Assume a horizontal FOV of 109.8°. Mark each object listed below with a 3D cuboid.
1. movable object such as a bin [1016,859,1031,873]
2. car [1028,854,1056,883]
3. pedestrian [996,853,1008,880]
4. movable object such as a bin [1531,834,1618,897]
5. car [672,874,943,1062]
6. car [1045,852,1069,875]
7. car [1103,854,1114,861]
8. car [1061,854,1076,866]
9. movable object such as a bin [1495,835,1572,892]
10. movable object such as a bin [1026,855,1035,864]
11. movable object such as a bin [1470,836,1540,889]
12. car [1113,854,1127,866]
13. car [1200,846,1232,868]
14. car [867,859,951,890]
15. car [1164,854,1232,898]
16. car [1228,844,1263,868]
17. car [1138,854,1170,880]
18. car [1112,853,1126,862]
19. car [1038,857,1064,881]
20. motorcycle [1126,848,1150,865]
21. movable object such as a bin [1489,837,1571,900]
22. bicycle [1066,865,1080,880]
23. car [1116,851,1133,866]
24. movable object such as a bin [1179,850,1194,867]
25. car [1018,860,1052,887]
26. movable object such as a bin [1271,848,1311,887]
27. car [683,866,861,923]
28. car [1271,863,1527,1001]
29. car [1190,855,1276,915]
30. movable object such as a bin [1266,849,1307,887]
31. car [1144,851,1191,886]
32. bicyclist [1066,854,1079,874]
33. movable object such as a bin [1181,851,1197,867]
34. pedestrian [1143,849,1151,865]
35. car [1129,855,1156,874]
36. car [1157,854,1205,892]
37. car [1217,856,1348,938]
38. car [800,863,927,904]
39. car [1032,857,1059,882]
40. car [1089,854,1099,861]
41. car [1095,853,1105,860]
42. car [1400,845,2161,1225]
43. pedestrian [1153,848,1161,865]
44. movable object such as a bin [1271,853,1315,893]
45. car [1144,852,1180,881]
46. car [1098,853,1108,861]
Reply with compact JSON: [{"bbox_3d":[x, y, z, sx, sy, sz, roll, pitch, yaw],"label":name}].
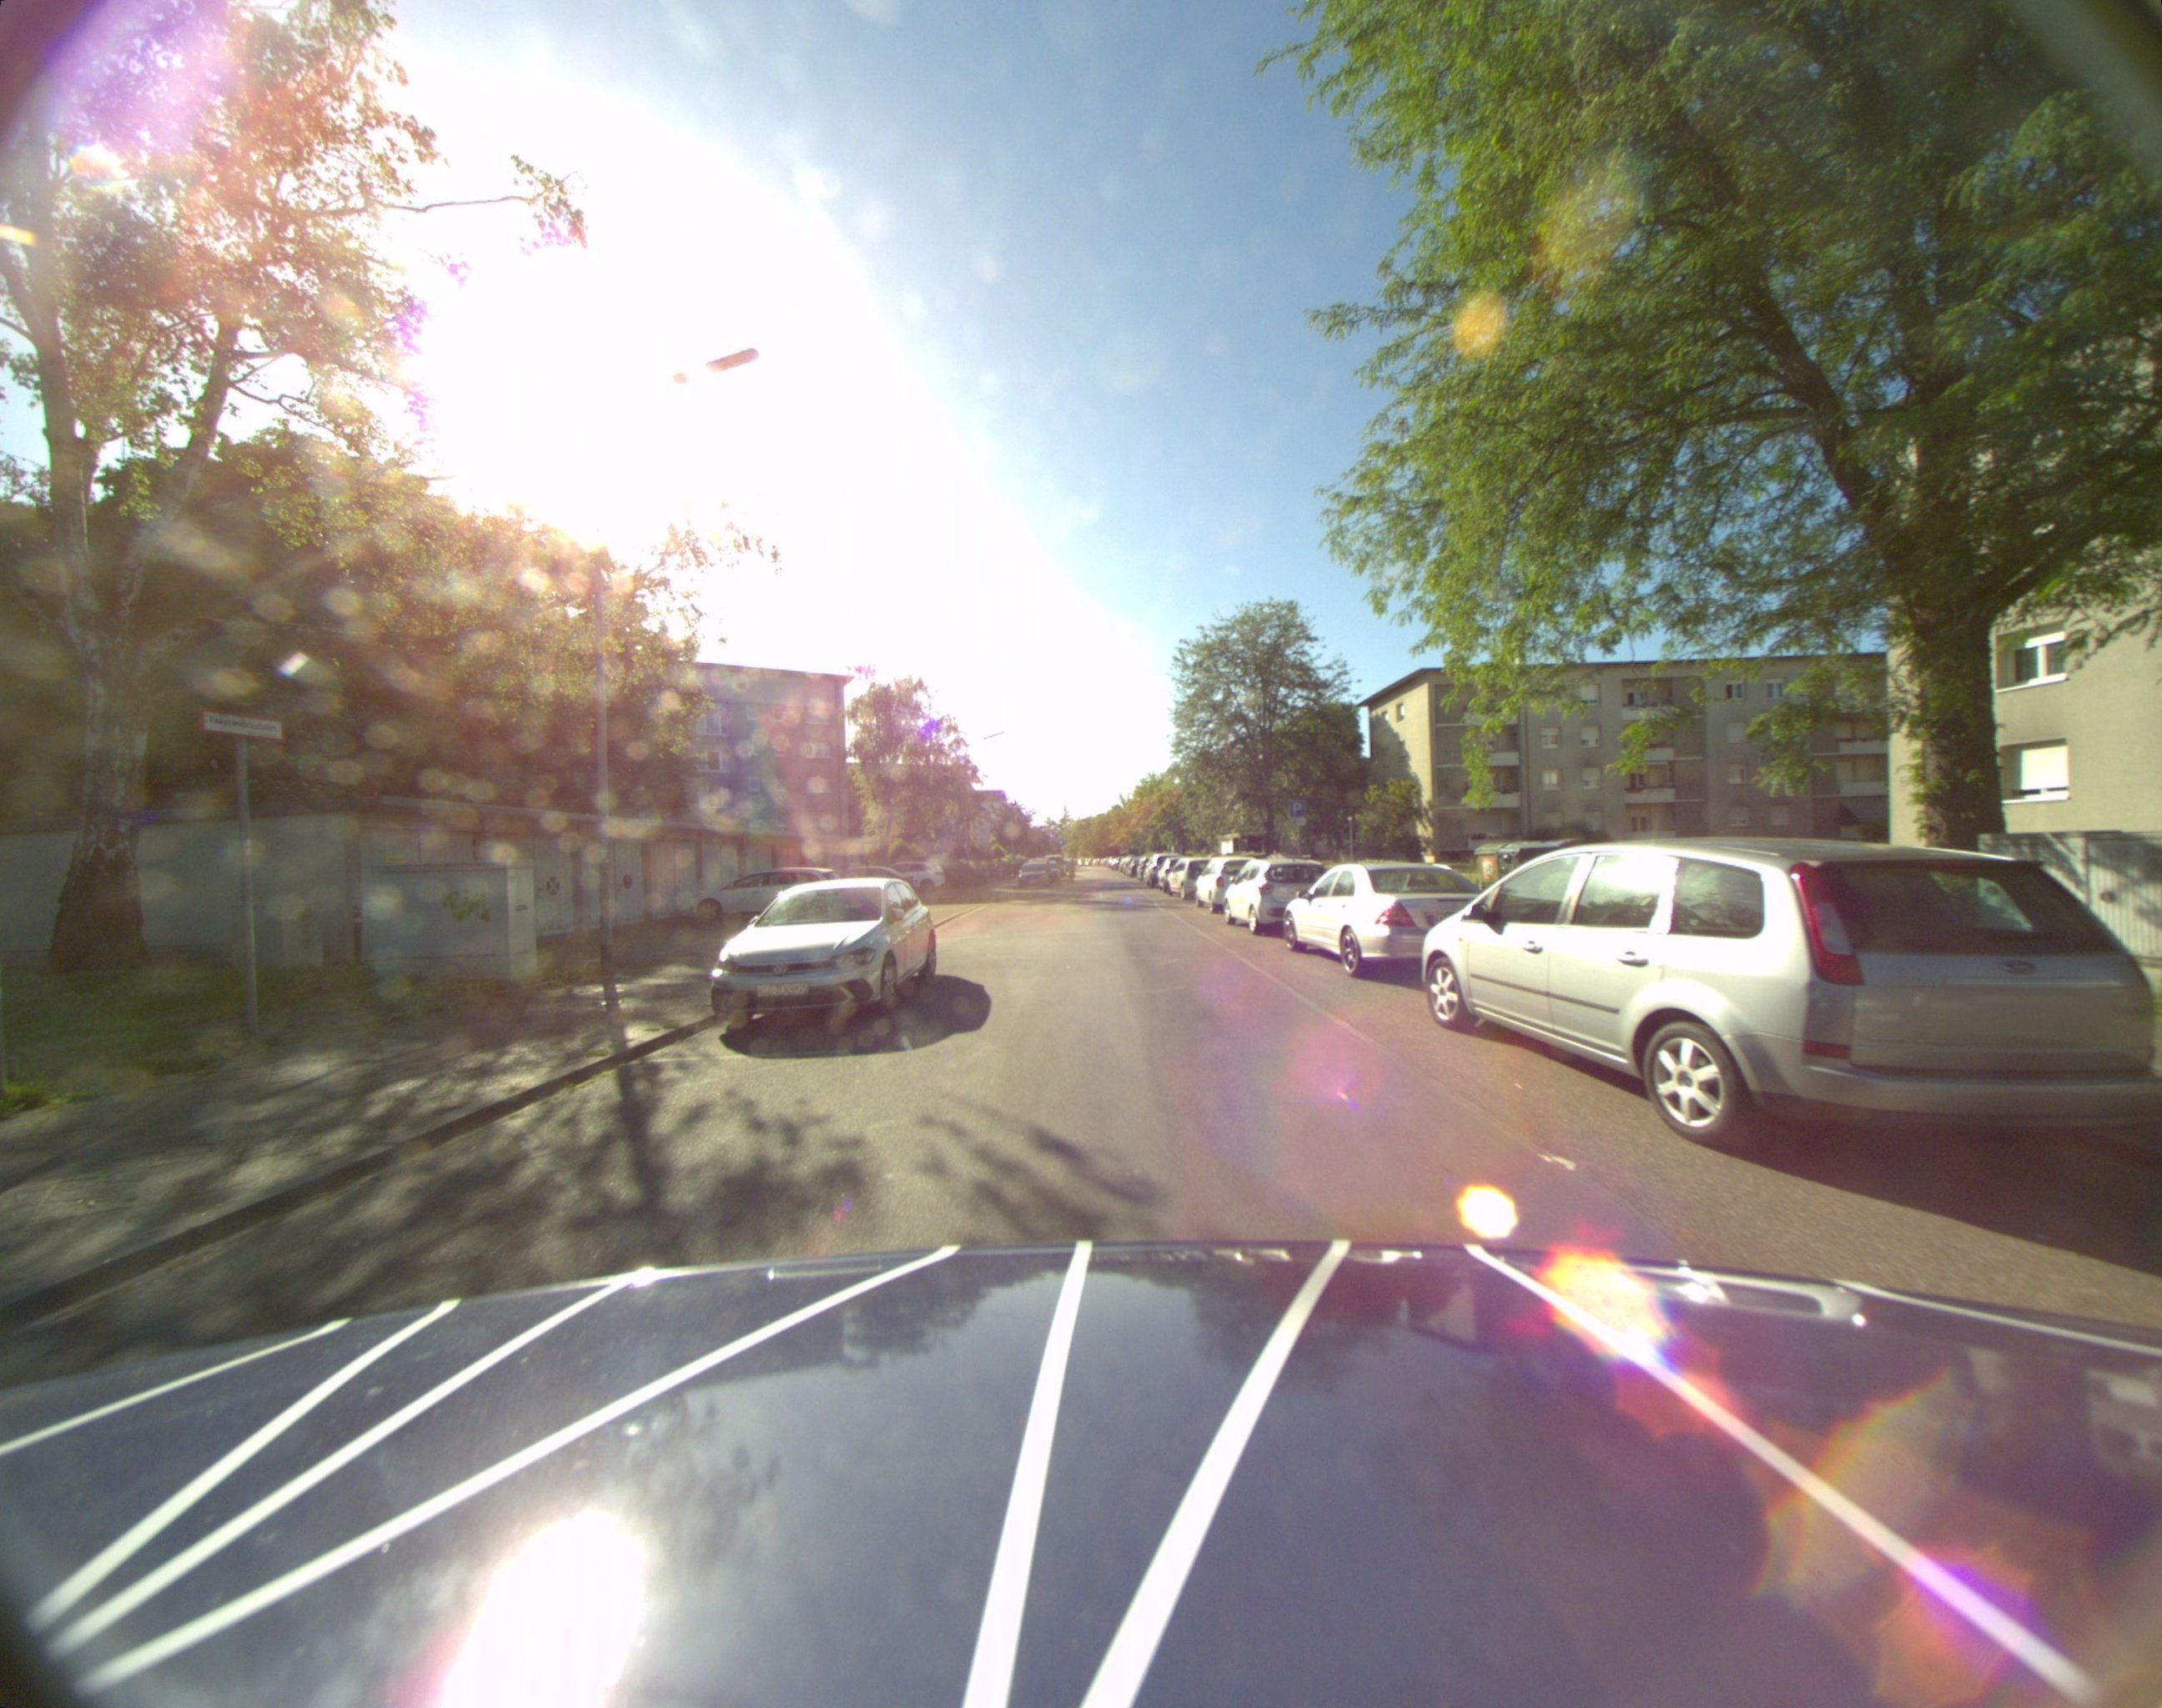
[{"bbox_3d":[-5.258,1.078,69.190,1.028,1.302,1.388,1,1,11],"label":"movable object such as a bin"},{"bbox_3d":[-2.429,0.893,48.013,1.492,1.708,2.583,-4,0,0],"label":"car"},{"bbox_3d":[-5.459,0.841,52.305,0.705,1.877,0.872,0,1,2],"label":"pedestrian"},{"bbox_3d":[12.289,0.272,18.987,1.180,1.412,1.462,-5,0,3],"label":"movable object such as a bin"},{"bbox_3d":[-2.889,1.103,9.066,1.758,1.505,4.103,-4,0,-2],"label":"car"},{"bbox_3d":[-2.093,0.822,67.544,1.857,1.923,4.704,-4,0,0],"label":"car"},{"bbox_3d":[5.402,0.679,147.353,1.811,1.470,3.939,-1,0,-2],"label":"car"},{"bbox_3d":[-1.685,0.828,103.459,1.809,1.486,3.795,-3,0,2],"label":"car"},{"bbox_3d":[12.391,0.253,20.857,1.180,1.412,1.462,-5,0,3],"label":"movable object such as a bin"},{"bbox_3d":[-7.707,0.817,115.276,1.328,1.423,1.029,-3,0,-5],"label":"movable object such as a bin"},{"bbox_3d":[12.368,0.251,22.229,1.180,1.412,1.462,-5,0,3],"label":"movable object such as a bin"},{"bbox_3d":[4.904,0.726,96.431,1.758,1.416,4.210,0,1,3],"label":"car"},{"bbox_3d":[10.058,0.187,56.784,1.574,1.516,3.999,-3,0,-1],"label":"car"},{"bbox_3d":[-8.864,1.037,39.374,3.953,1.505,1.828,-1,0,-2],"label":"car"},{"bbox_3d":[4.289,0.782,28.424,1.667,1.504,3.536,-1,0,-6],"label":"car"},{"bbox_3d":[12.082,0.159,56.034,1.574,1.631,3.999,-3,0,-1],"label":"car"},{"bbox_3d":[4.685,0.829,49.171,1.758,1.597,3.969,0,0,1],"label":"car"},{"bbox_3d":[5.863,0.517,117.575,1.759,1.377,4.673,-1,1,0],"label":"car"},{"bbox_3d":[-2.138,1.047,54.937,1.736,1.481,4.500,-4,0,-2],"label":"car"},{"bbox_3d":[5.695,0.221,76.328,2.262,1.717,0.932,0,1,-2],"label":"motorcycle"},{"bbox_3d":[11.000,0.344,18.662,1.137,1.412,1.361,-5,0,2],"label":"movable object such as a bin"},{"bbox_3d":[-0.534,1.269,51.907,0.824,0.896,2.203,-3,0,2],"label":"bicycle"},{"bbox_3d":[5.089,0.508,89.669,1.758,1.626,4.370,0,0,1],"label":"car"},{"bbox_3d":[9.388,0.397,67.664,1.180,1.400,1.343,-3,0,1],"label":"movable object such as a bin"},{"bbox_3d":[-2.587,1.083,43.682,1.736,1.395,3.894,-4,0,-2],"label":"car"},{"bbox_3d":[7.929,0.514,28.755,1.139,1.350,1.243,-5,0,2],"label":"movable object such as a bin"},{"bbox_3d":[-8.976,1.150,22.319,4.426,1.505,1.829,-1,0,1],"label":"car"},{"bbox_3d":[4.071,0.886,10.641,1.691,1.456,4.525,0,0,0],"label":"car"},{"bbox_3d":[4.306,0.824,22.037,1.691,1.526,3.890,-1,0,0],"label":"car"},{"bbox_3d":[7.960,0.526,29.549,1.139,1.374,1.442,-5,0,2],"label":"movable object such as a bin"},{"bbox_3d":[4.326,0.701,38.432,1.908,1.630,4.349,-1,0,1],"label":"car"},{"bbox_3d":[-0.572,0.669,51.663,0.812,1.348,1.091,-3,0,2],"label":"bicyclist"},{"bbox_3d":[9.378,0.391,66.279,1.180,1.332,1.343,-3,0,2],"label":"movable object such as a bin"},{"bbox_3d":[6.995,0.282,80.215,0.722,1.669,0.616,-3,1,1],"label":"pedestrian"},{"bbox_3d":[4.869,0.811,60.860,1.759,1.472,4.537,0,0,0],"label":"car"},{"bbox_3d":[4.294,0.781,33.129,1.666,1.504,3.946,-1,0,2],"label":"car"},{"bbox_3d":[4.122,0.811,16.183,1.691,1.497,3.817,-2,0,-1],"label":"car"},{"bbox_3d":[-8.691,1.168,30.598,4.524,1.505,1.829,-1,0,2],"label":"car"},{"bbox_3d":[-2.332,1.027,50.879,1.418,1.514,2.558,-4,0,4],"label":"car"},{"bbox_3d":[2.900,0.724,171.944,1.658,1.621,4.070,-1,0,-5],"label":"car"},{"bbox_3d":[4.044,0.599,164.720,1.658,1.470,3.733,-1,0,-7],"label":"car"},{"bbox_3d":[3.898,0.757,5.183,1.714,1.591,3.985,0,0,-1],"label":"car"},{"bbox_3d":[7.946,0.251,79.954,0.722,1.669,0.600,-3,1,1],"label":"pedestrian"},{"bbox_3d":[7.646,0.670,27.461,1.180,1.332,1.343,-5,0,2],"label":"movable object such as a bin"},{"bbox_3d":[4.619,0.685,43.780,1.640,1.597,3.534,-1,0,0],"label":"car"},{"bbox_3d":[4.626,0.618,159.694,1.658,1.470,3.104,-1,0,-4],"label":"car"}]
